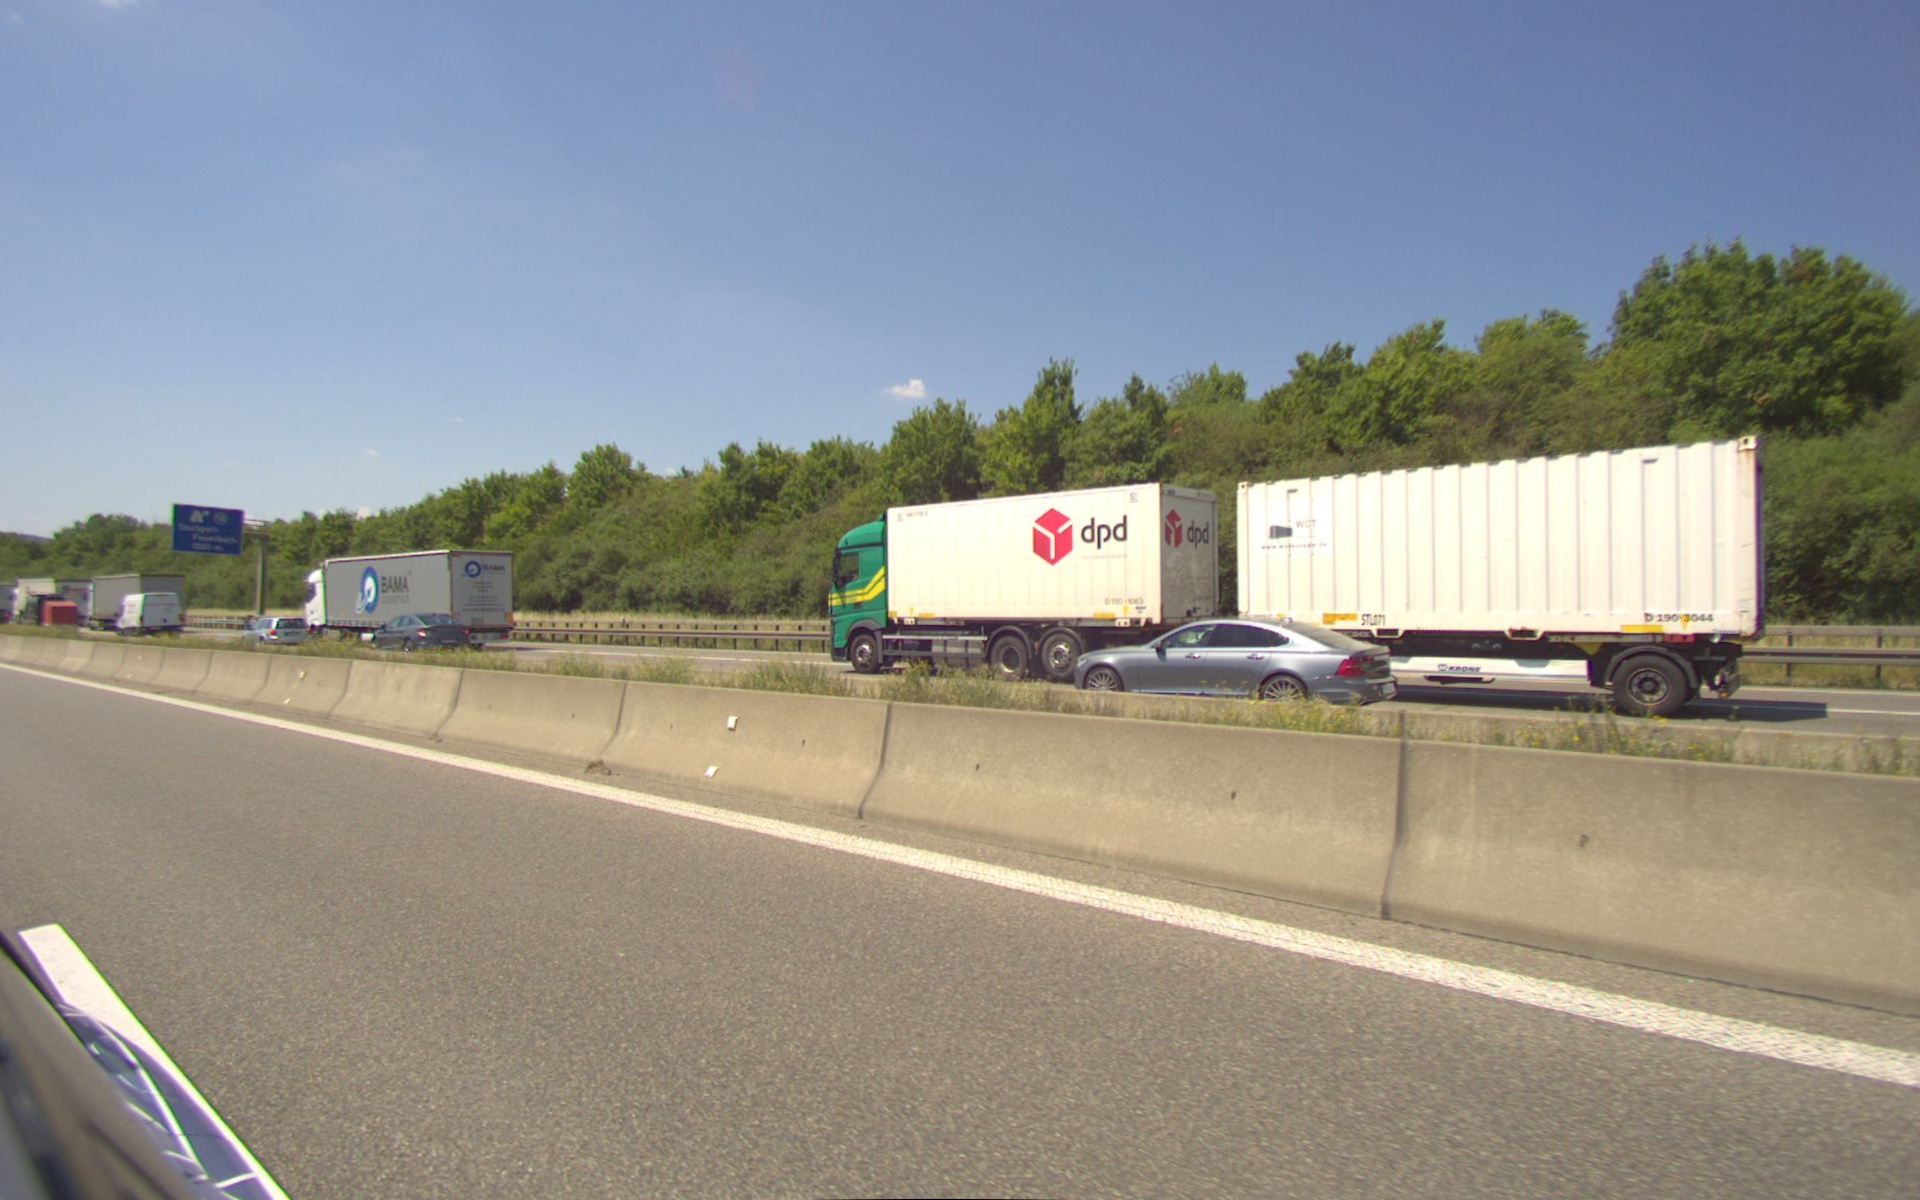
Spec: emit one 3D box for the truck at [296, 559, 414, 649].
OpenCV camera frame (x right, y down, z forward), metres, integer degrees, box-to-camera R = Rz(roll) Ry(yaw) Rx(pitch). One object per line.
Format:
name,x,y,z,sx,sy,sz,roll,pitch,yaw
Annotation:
truck,-29.290,0.219,48.886,6.597,4.067,2.825,-1,-1,39

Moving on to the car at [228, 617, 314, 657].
car,-29.523,1.521,43.304,4.854,1.471,1.734,1,1,39

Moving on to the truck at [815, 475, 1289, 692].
truck,1.492,-0.167,23.063,11.240,3.929,2.813,-1,-2,41

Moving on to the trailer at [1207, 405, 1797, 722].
trailer,8.552,-0.372,16.891,8.226,4.103,2.889,-1,-2,42

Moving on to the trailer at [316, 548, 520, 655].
trailer,-24.263,0.160,44.648,14.434,4.117,2.873,-1,-1,40

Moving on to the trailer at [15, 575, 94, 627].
trailer,-80.239,0.114,89.567,13.848,4.310,2.784,0,0,38

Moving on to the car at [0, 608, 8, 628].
car,-85.076,1.530,88.514,4.785,1.728,1.975,0,0,38

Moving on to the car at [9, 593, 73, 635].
car,-67.927,1.041,74.744,6.538,3.037,2.217,-1,-1,36

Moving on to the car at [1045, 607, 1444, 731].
car,4.081,0.911,15.251,5.490,1.557,1.973,-1,-1,40

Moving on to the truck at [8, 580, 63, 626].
truck,-85.578,0.290,93.659,6.089,4.073,2.730,0,0,37

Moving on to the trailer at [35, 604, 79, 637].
trailer,-63.899,1.440,71.611,3.954,2.270,1.555,-1,-1,36

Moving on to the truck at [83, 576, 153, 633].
truck,-64.640,0.313,77.635,6.598,4.241,2.932,0,0,39

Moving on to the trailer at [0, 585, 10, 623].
trailer,-105.870,0.400,109.141,13.856,3.902,2.876,0,0,38

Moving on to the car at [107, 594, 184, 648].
car,-46.555,1.117,57.777,6.618,2.807,2.118,1,1,39

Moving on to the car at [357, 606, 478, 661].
car,-18.639,1.098,34.672,5.109,1.654,1.843,1,0,40

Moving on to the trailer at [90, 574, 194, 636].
trailer,-59.834,0.318,73.800,14.176,4.238,2.953,0,0,39
